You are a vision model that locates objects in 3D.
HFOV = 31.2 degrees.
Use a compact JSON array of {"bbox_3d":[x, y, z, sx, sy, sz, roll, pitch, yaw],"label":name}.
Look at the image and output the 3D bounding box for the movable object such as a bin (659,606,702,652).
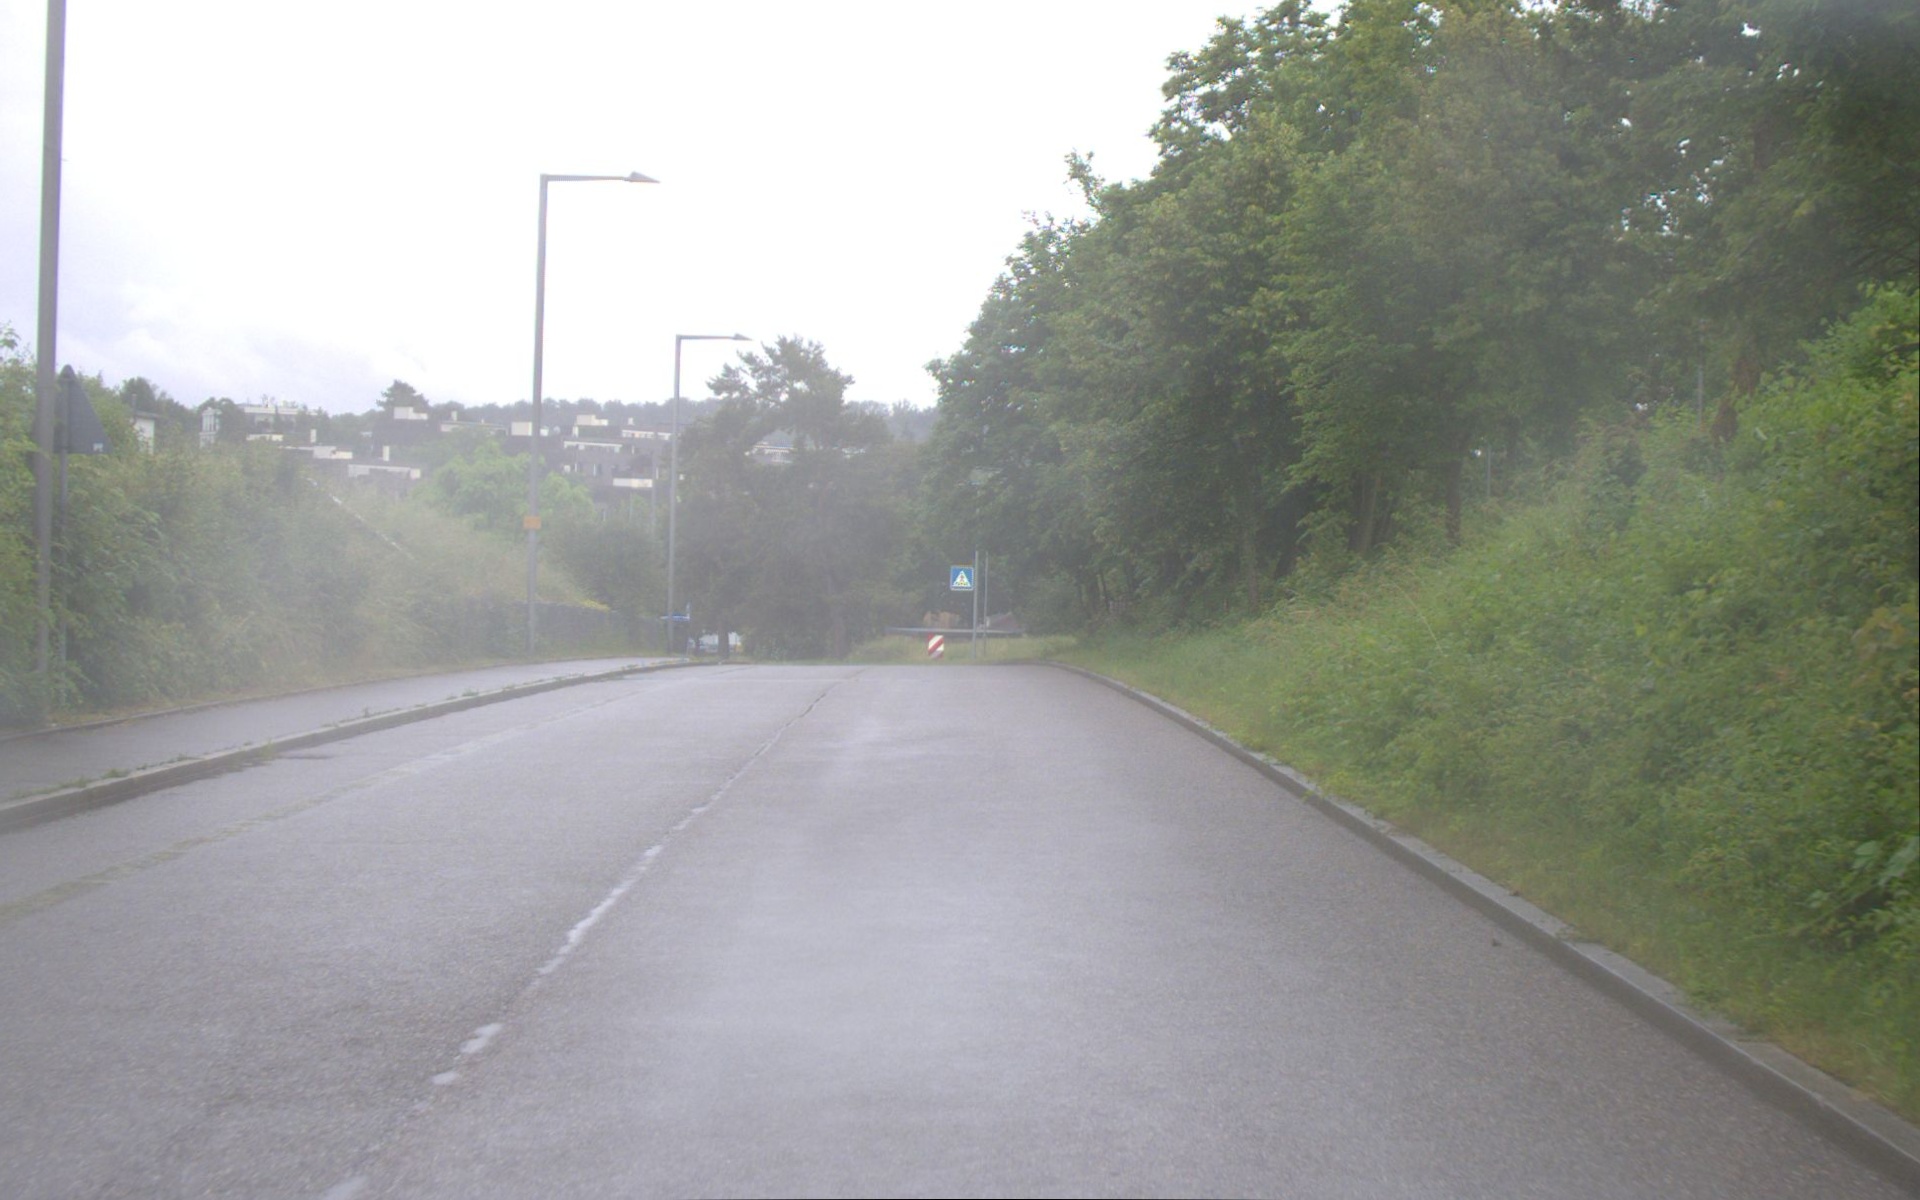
[{"bbox_3d":[-8.680,0.896,106.639,1.131,1.335,1.399,4,-2,-10],"label":"movable object such as a bin"}]
